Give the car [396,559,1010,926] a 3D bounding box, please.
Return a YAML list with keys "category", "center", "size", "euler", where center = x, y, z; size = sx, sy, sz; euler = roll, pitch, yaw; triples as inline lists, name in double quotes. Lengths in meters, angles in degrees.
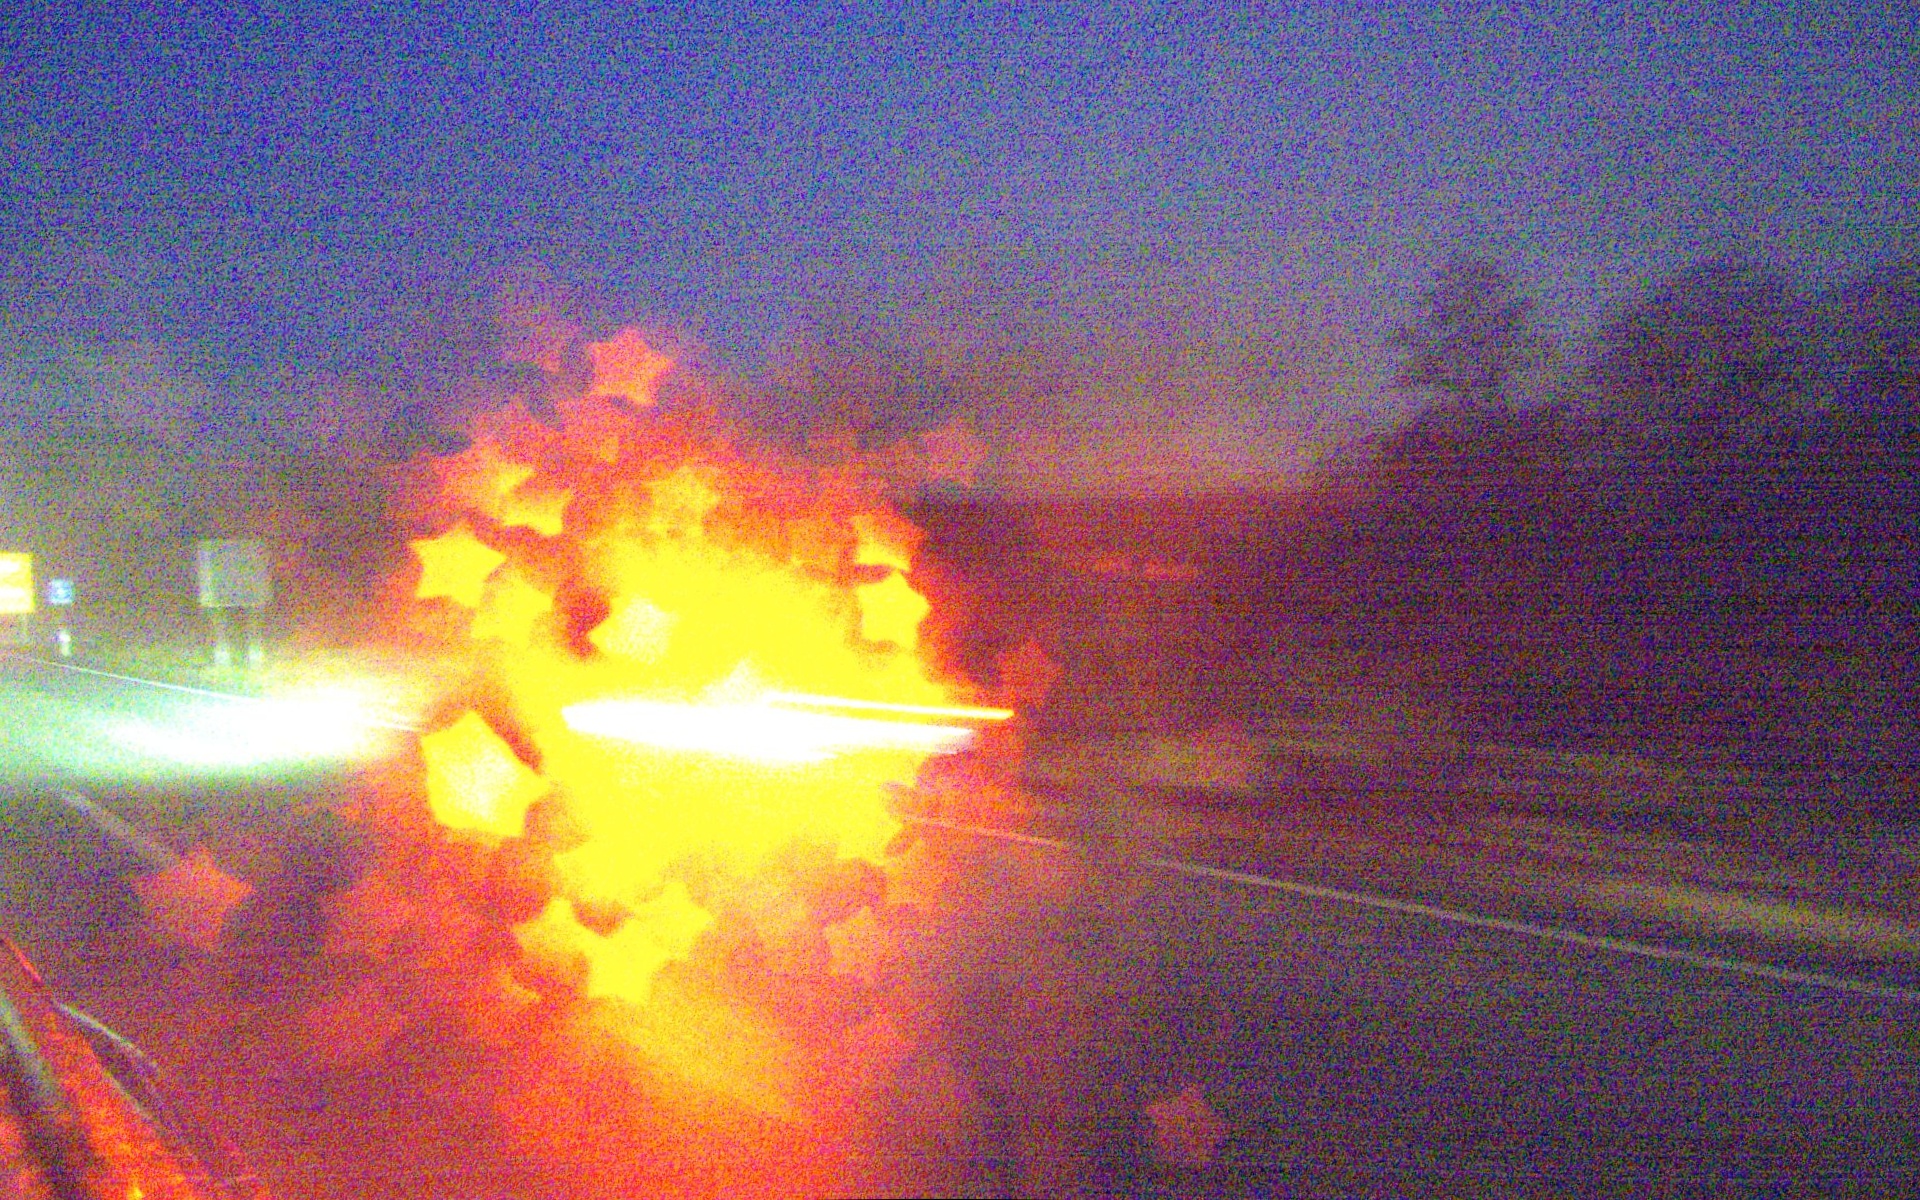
- category: "car"
  center: [-1.858, 0.643, 6.679]
  size: [3.997, 1.674, 1.973]
  euler: [0, 1, 40]
